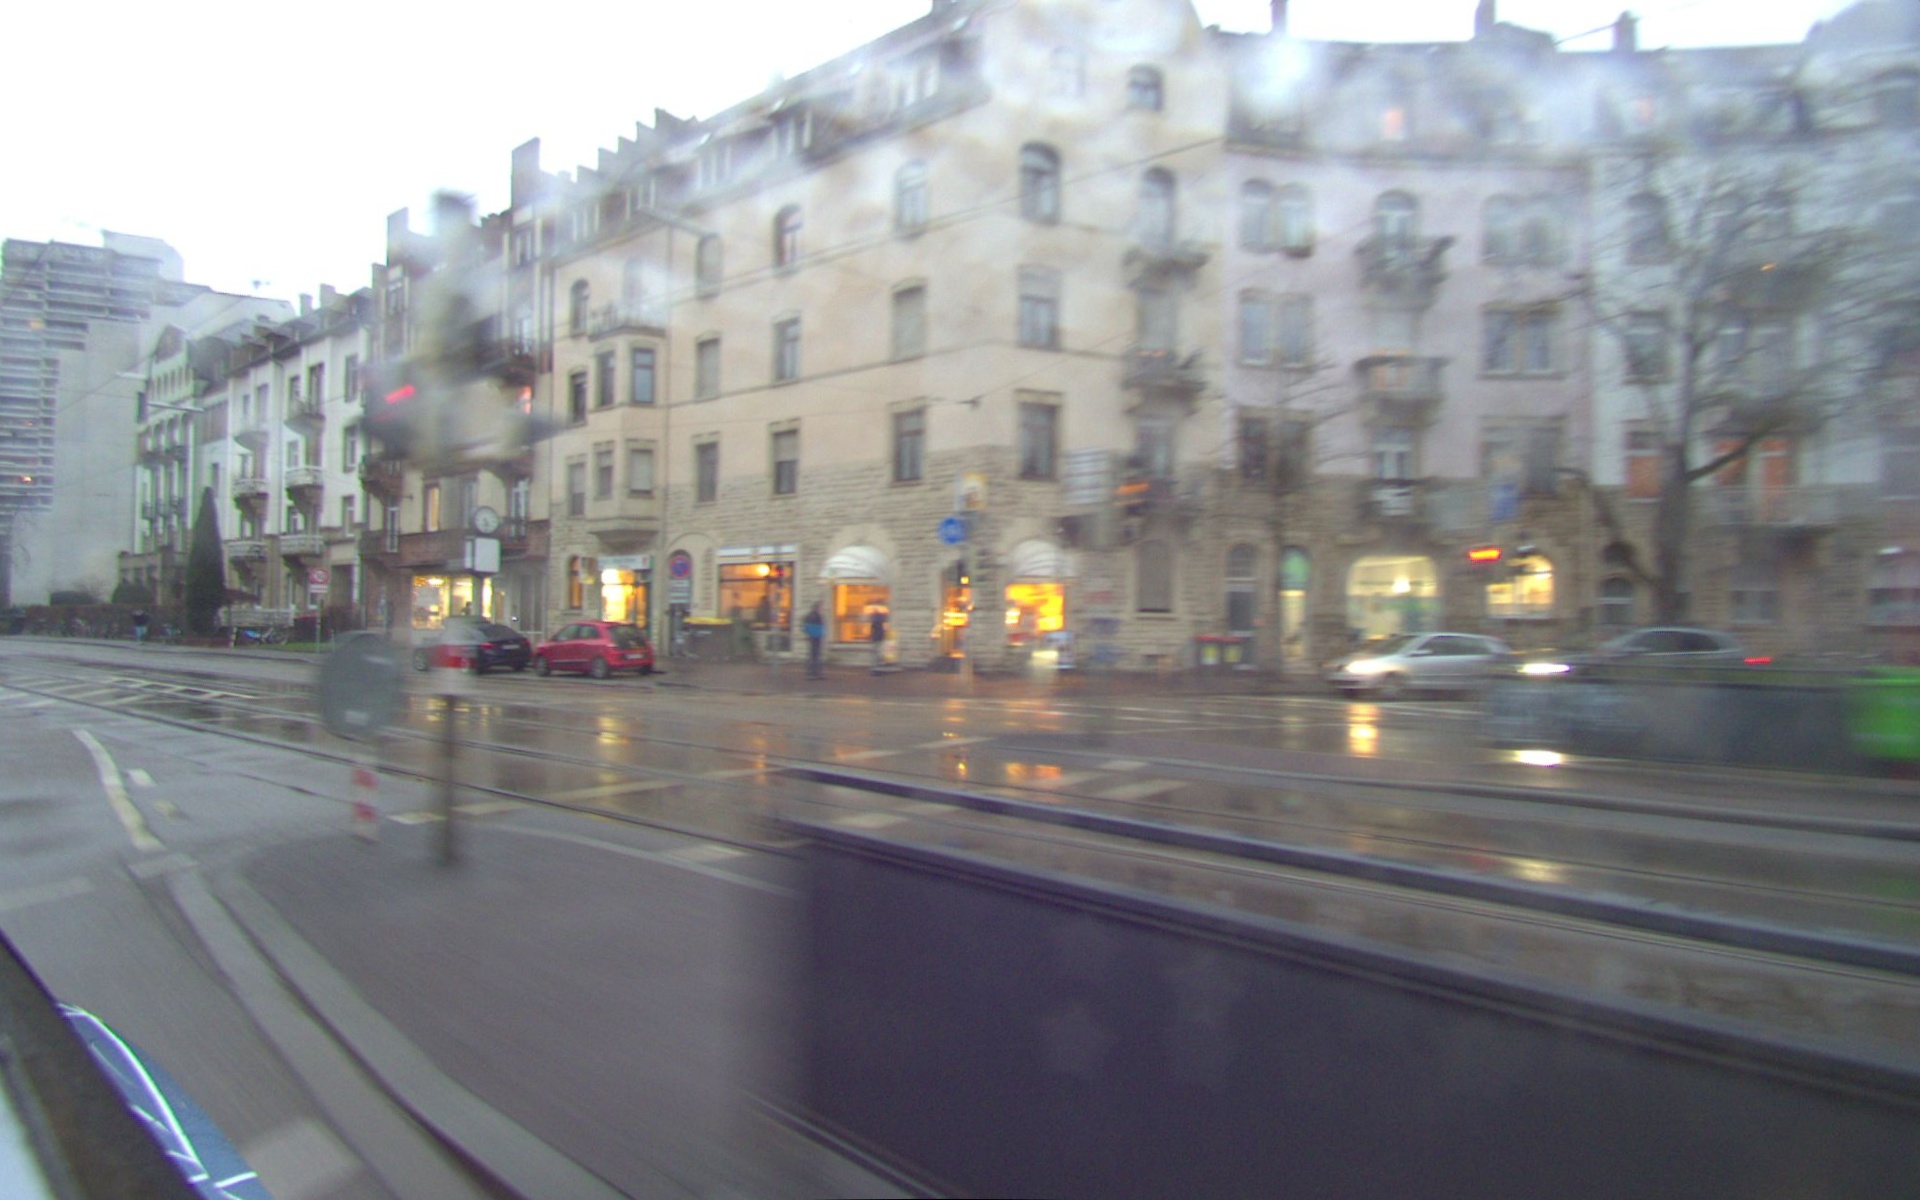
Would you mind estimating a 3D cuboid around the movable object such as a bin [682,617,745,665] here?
[{"bbox_3d":[-7.563,1.229,31.078,1.279,1.382,1.337,0,1,36],"label":"movable object such as a bin"}]

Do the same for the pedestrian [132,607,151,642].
[{"bbox_3d":[-39.397,1.197,48.730,0.448,1.654,0.567,-1,1,36],"label":"pedestrian"}]

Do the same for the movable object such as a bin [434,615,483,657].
[{"bbox_3d":[-18.301,1.285,36.959,1.072,1.442,1.225,0,1,36],"label":"movable object such as a bin"}]

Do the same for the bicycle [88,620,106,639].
[{"bbox_3d":[-47.906,1.653,56.198,1.710,1.014,0.430,0,1,39],"label":"bicycle"}]

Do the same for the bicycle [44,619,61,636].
[{"bbox_3d":[-55.365,1.676,61.737,1.879,1.014,0.430,0,1,39],"label":"bicycle"}]

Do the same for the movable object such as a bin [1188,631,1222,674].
[{"bbox_3d":[6.586,1.408,27.224,0.638,1.144,0.694,1,-2,-16],"label":"movable object such as a bin"}]

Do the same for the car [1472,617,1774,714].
[{"bbox_3d":[12.092,1.161,18.661,4.281,1.595,1.938,-1,0,-1],"label":"car"}]

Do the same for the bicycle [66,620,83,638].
[{"bbox_3d":[-51.174,1.666,58.492,1.603,1.014,0.430,0,1,39],"label":"bicycle"}]

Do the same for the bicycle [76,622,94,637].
[{"bbox_3d":[-49.437,1.667,57.177,1.766,0.838,0.437,0,1,39],"label":"bicycle"}]

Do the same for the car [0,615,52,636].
[{"bbox_3d":[-65.807,1.777,70.350,1.725,1.424,3.794,-1,-1,38],"label":"car"}]

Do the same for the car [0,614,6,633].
[{"bbox_3d":[-75.108,1.854,76.763,1.725,1.424,3.794,-1,0,38],"label":"car"}]

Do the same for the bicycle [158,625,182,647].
[{"bbox_3d":[-37.284,1.688,47.774,2.085,0.947,0.524,0,1,42],"label":"bicycle"}]

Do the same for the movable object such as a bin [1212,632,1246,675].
[{"bbox_3d":[7.282,1.452,27.369,0.638,1.144,0.655,1,-2,-16],"label":"movable object such as a bin"}]

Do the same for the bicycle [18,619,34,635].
[{"bbox_3d":[-60.880,1.761,65.953,1.879,1.014,0.464,0,1,39],"label":"bicycle"}]

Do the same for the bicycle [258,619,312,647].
[{"bbox_3d":[-30.873,1.493,46.304,0.530,1.167,1.966,-1,1,36],"label":"bicycle"}]

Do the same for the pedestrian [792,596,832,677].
[{"bbox_3d":[-3.586,0.868,24.509,0.784,1.892,0.897,-1,1,-17],"label":"pedestrian"}]

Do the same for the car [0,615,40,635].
[{"bbox_3d":[-68.027,1.780,71.841,1.725,1.424,3.793,-1,-2,38],"label":"car"}]

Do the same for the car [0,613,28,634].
[{"bbox_3d":[-70.357,1.741,73.410,1.725,1.424,3.794,0,1,38],"label":"car"}]

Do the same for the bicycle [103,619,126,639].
[{"bbox_3d":[-45.241,1.541,54.168,2.207,1.014,0.518,0,1,39],"label":"bicycle"}]

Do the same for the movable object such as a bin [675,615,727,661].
[{"bbox_3d":[-8.285,1.191,32.385,1.272,1.382,0.992,0,1,36],"label":"movable object such as a bin"}]

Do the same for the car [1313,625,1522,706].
[{"bbox_3d":[9.761,1.371,21.707,3.765,1.483,1.617,-1,1,-8],"label":"car"}]

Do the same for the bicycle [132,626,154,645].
[{"bbox_3d":[-41.013,1.790,50.794,2.208,0.896,0.524,0,1,42],"label":"bicycle"}]

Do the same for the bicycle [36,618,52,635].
[{"bbox_3d":[-56.982,1.665,62.925,1.879,1.014,0.430,0,1,39],"label":"bicycle"}]

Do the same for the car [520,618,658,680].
[{"bbox_3d":[-10.266,1.311,27.973,3.666,1.527,1.660,-1,1,32],"label":"car"}]

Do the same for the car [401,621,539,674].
[{"bbox_3d":[-14.962,1.392,30.843,4.497,1.400,1.787,0,1,34],"label":"car"}]

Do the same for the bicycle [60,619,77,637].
[{"bbox_3d":[-52.542,1.637,59.660,1.879,1.014,0.430,0,1,39],"label":"bicycle"}]

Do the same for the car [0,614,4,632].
[{"bbox_3d":[-78.291,1.894,79.984,1.725,1.424,3.794,0,1,38],"label":"car"}]
